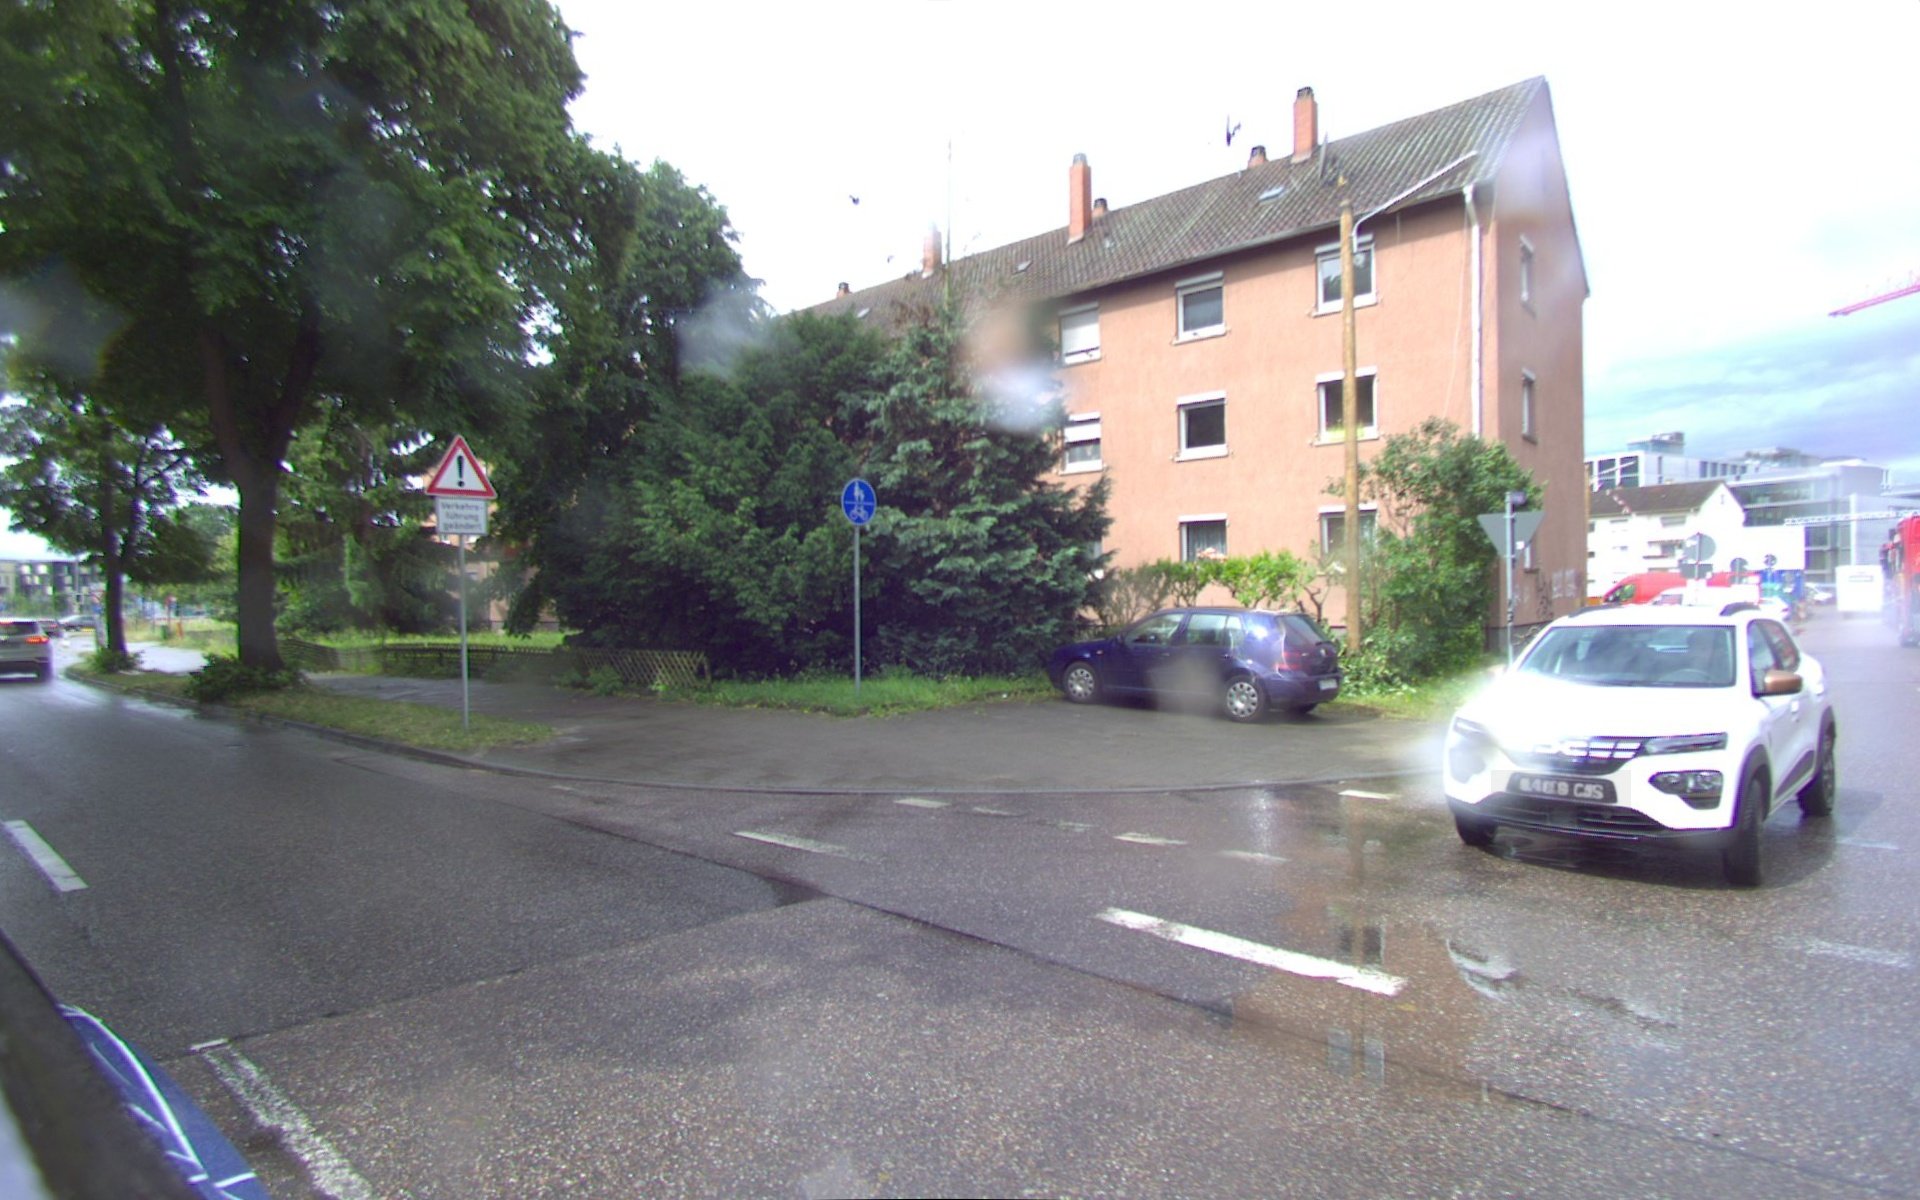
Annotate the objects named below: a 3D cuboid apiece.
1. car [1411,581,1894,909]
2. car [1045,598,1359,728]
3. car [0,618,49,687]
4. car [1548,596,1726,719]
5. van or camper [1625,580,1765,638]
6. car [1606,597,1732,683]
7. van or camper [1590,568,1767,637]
[{"bbox_3d":[4.641,0.695,6.615,3.560,1.545,1.741,0,-1,-41],"label":"car"},{"bbox_3d":[3.182,0.733,13.745,3.870,1.430,1.606,1,3,43],"label":"car"},{"bbox_3d":[-25.734,1.363,26.913,4.229,1.726,1.866,-2,-1,42],"label":"car"},{"bbox_3d":[9.867,0.720,14.614,1.726,1.484,4.013,-1,0,40],"label":"car"},{"bbox_3d":[26.895,0.350,37.228,3.987,2.029,1.928,0,-3,32],"label":"van or camper"},{"bbox_3d":[14.217,0.708,20.202,1.727,1.484,4.013,1,1,40],"label":"car"},{"bbox_3d":[28.181,0.137,39.888,5.570,2.530,1.925,0,-3,36],"label":"van or camper"}]
